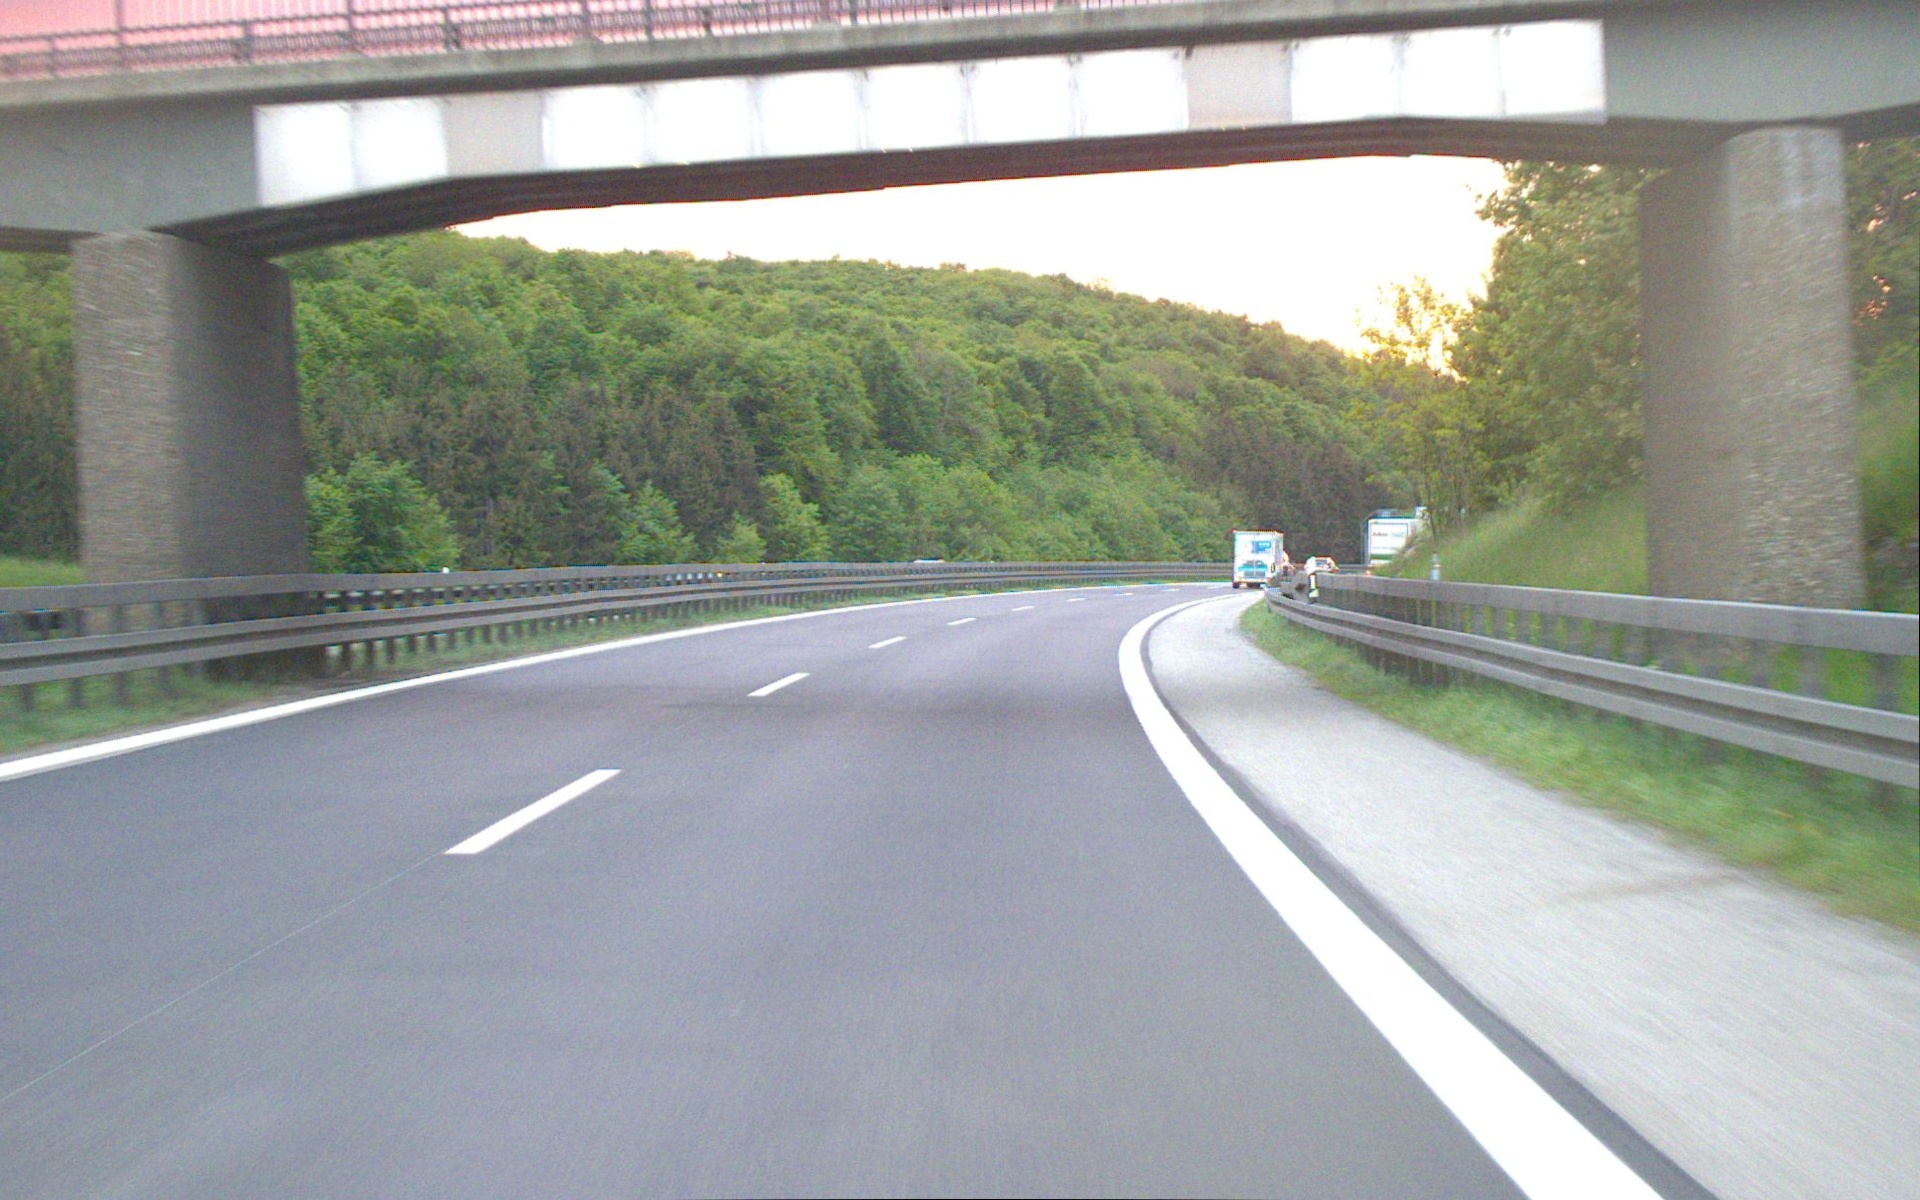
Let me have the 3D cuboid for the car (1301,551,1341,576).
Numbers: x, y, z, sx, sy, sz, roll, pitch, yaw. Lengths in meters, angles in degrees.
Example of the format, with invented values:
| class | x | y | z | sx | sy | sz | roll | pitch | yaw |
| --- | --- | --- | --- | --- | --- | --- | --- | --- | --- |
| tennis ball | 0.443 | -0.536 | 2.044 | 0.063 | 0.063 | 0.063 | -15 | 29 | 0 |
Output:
| class | x | y | z | sx | sy | sz | roll | pitch | yaw |
| --- | --- | --- | --- | --- | --- | --- | --- | --- | --- |
| car | 22.454 | -2.274 | 213.722 | 1.994 | 1.512 | 3.998 | 0 | 1 | 12 |

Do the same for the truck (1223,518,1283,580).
| class | x | y | z | sx | sy | sz | roll | pitch | yaw |
| --- | --- | --- | --- | --- | --- | --- | --- | --- | --- |
| truck | 13.571 | -2.360 | 159.052 | 2.277 | 2.655 | 5.234 | -1 | 2 | 10 |

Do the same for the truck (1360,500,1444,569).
| class | x | y | z | sx | sy | sz | roll | pitch | yaw |
| --- | --- | --- | --- | --- | --- | --- | --- | --- | --- |
| truck | 28.311 | -4.192 | 219.535 | 3.960 | 4.272 | 14.316 | -1 | 1 | 13 |
